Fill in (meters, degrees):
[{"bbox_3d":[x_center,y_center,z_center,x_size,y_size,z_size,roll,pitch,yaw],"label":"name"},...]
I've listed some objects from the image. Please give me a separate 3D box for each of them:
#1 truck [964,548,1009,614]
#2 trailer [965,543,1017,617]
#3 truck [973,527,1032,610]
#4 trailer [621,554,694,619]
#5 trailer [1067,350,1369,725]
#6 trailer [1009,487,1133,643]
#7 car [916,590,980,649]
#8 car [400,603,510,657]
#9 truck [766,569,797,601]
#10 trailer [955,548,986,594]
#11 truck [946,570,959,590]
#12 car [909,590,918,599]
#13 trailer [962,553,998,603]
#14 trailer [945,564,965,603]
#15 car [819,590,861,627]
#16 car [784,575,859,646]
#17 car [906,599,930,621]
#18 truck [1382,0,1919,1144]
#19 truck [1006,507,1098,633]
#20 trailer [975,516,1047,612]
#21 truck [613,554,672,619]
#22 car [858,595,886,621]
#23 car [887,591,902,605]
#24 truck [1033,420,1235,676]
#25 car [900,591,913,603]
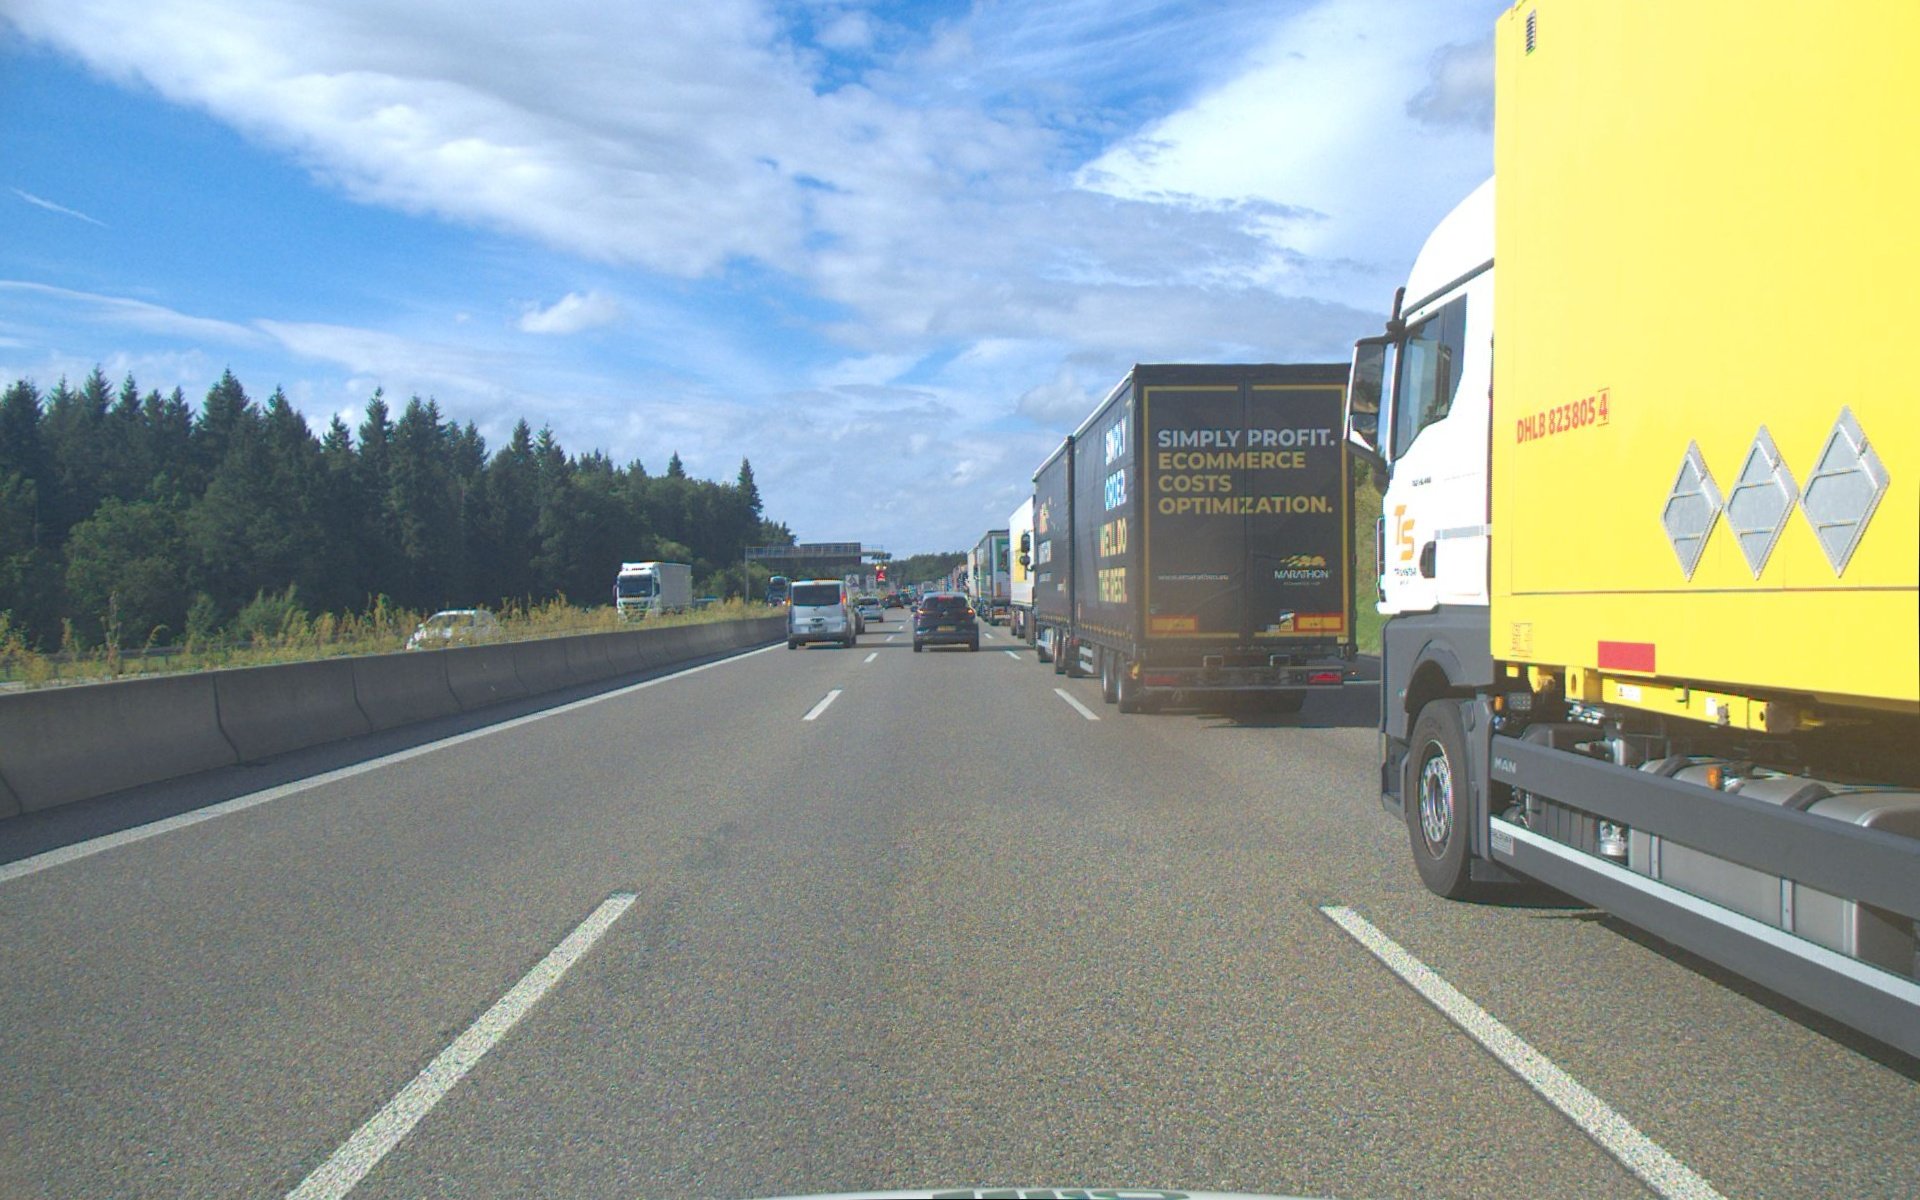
[{"bbox_3d":[1.735,-1.230,110.279,2.653,4.130,6.360,-3,0,-1],"label":"truck"},{"bbox_3d":[1.807,-1.225,102.982,2.648,4.152,12.942,-3,0,-1],"label":"trailer"},{"bbox_3d":[2.109,-1.529,83.746,2.593,3.936,6.995,-2,0,-1],"label":"truck"},{"bbox_3d":[-20.593,-0.871,113.307,2.775,4.062,13.545,-1,0,-1],"label":"trailer"},{"bbox_3d":[3.088,-0.730,22.323,2.660,4.030,8.711,1,1,0],"label":"trailer"},{"bbox_3d":[3.078,-0.920,49.513,2.735,4.007,13.068,-1,0,0],"label":"trailer"},{"bbox_3d":[-0.344,0.510,44.997,1.662,1.509,4.159,1,0,-1],"label":"car"},{"bbox_3d":[-15.126,0.852,49.820,1.879,1.502,4.933,1,0,-1],"label":"car"},{"bbox_3d":[-22.160,-1.787,205.675,2.774,3.753,11.129,-2,0,-1],"label":"truck"},{"bbox_3d":[1.004,-2.828,165.953,2.745,4.318,11.056,-3,0,0],"label":"trailer"},{"bbox_3d":[-1.171,-3.070,259.457,1.953,3.106,4.981,1,0,0],"label":"truck"},{"bbox_3d":[-6.931,-0.794,246.558,1.333,1.324,3.084,1,0,-1],"label":"car"},{"bbox_3d":[1.536,-1.679,131.802,2.489,3.717,10.625,-2,0,-1],"label":"trailer"},{"bbox_3d":[-0.534,-1.857,190.779,2.106,4.333,8.439,-2,0,0],"label":"trailer"},{"bbox_3d":[-4.820,0.328,66.892,1.469,1.420,3.475,1,0,-1],"label":"car"},{"bbox_3d":[-4.141,0.293,50.245,1.893,2.013,5.097,1,0,-1],"label":"car"},{"bbox_3d":[-2.781,0.633,108.860,1.549,1.420,3.206,1,0,-2],"label":"car"},{"bbox_3d":[3.660,-0.663,4.463,2.363,4.139,9.662,1,0,-1],"label":"truck"},{"bbox_3d":[3.062,-0.978,56.513,2.745,4.007,5.825,-1,0,0],"label":"truck"},{"bbox_3d":[2.206,-1.524,76.582,2.607,3.936,13.392,-2,0,-1],"label":"trailer"},{"bbox_3d":[-20.415,-0.861,106.640,2.762,4.045,5.831,-1,0,-2],"label":"truck"},{"bbox_3d":[-4.992,0.467,93.968,1.469,1.420,3.475,1,0,-1],"label":"car"},{"bbox_3d":[-6.220,-0.198,157.090,1.405,1.333,3.532,1,0,-1],"label":"car"},{"bbox_3d":[3.041,-0.842,31.814,2.685,4.109,10.201,1,0,-1],"label":"truck"},{"bbox_3d":[-5.949,-0.320,183.527,1.405,1.333,3.532,1,0,-1],"label":"car"}]
